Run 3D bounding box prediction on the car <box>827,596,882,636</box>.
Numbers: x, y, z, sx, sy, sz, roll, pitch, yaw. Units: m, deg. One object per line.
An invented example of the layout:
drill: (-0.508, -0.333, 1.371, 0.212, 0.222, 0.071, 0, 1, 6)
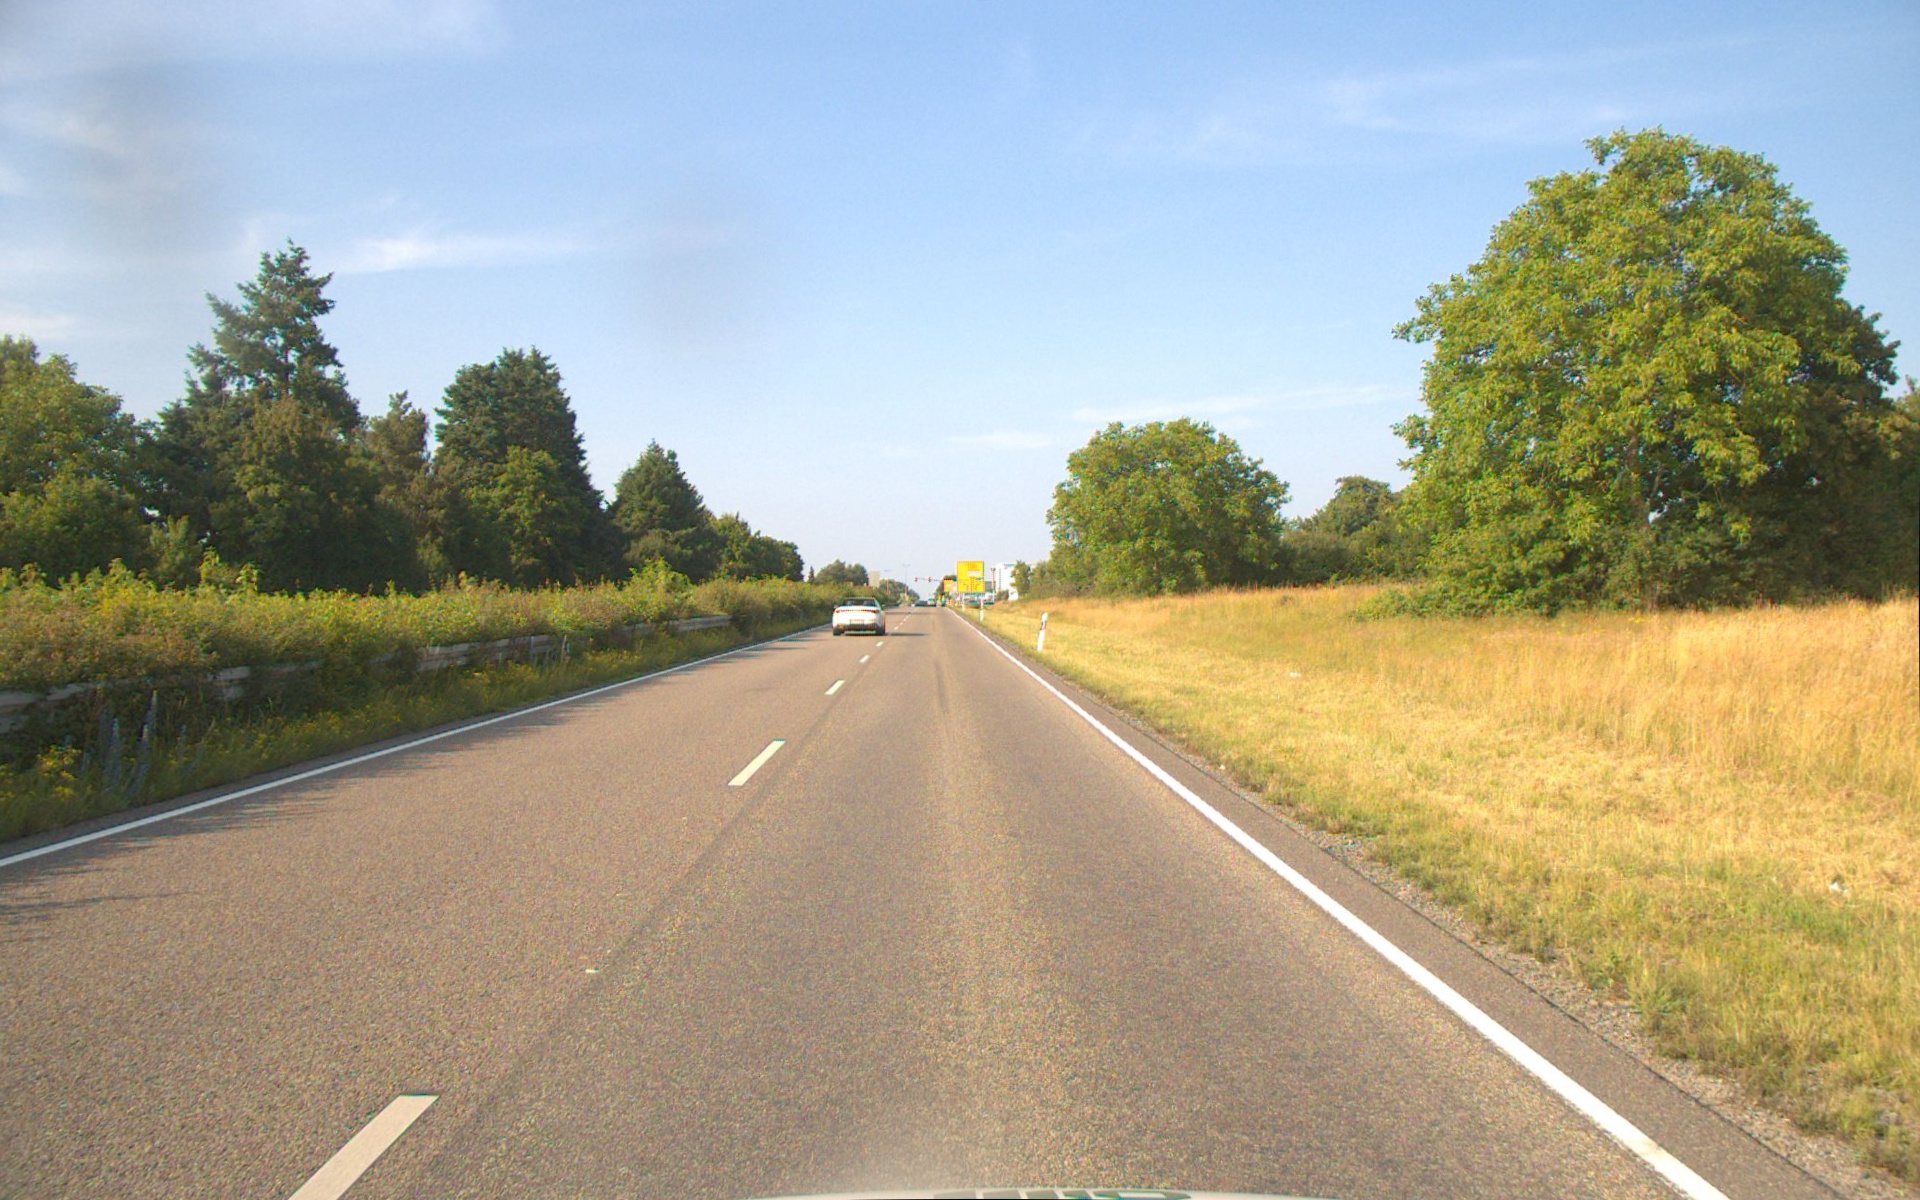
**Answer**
car: (-3.892, 0.578, 61.460, 1.871, 1.447, 3.999, 0, 0, -2)
